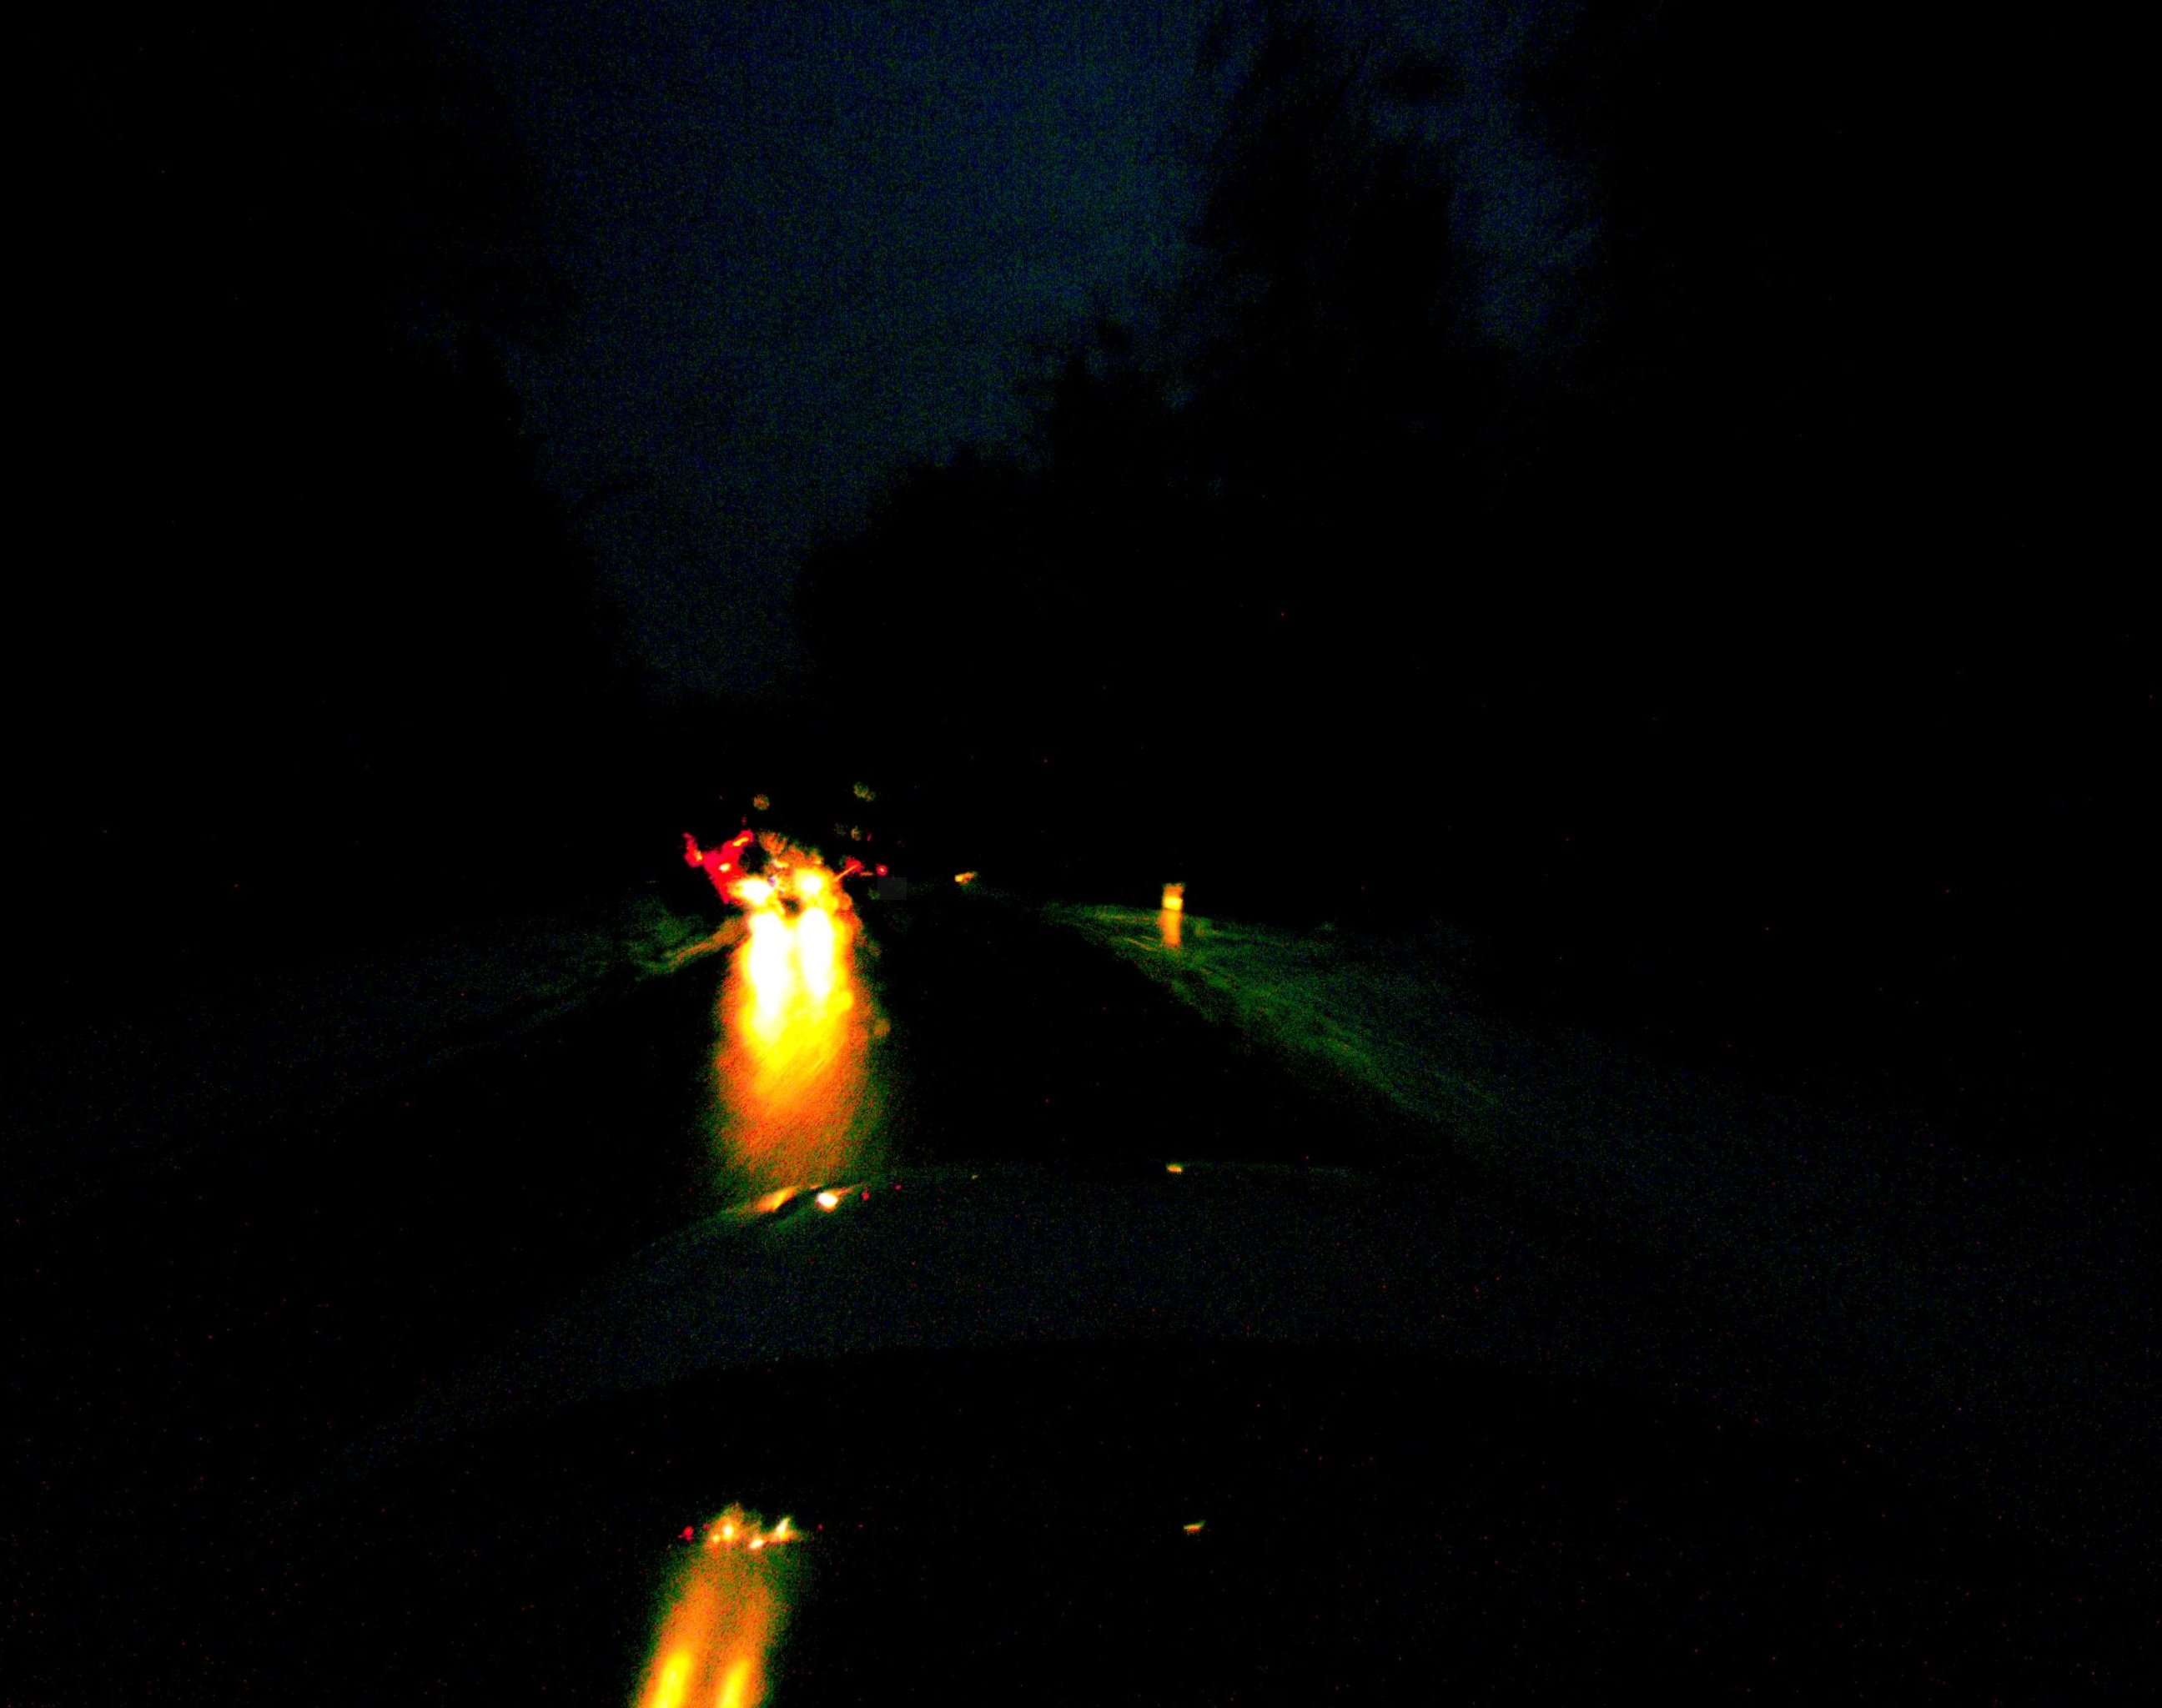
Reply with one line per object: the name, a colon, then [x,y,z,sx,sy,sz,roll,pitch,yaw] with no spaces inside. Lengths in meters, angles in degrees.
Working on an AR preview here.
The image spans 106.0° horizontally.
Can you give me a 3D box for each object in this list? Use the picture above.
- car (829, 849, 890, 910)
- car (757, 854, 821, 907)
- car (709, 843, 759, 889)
car: [-8.408,0.916,30.879,1.998,2.051,3.978,-3,0,-16]
car: [-9.872,0.818,27.453,1.781,1.492,4.516,-4,1,-21]
car: [-21.631,0.739,50.590,2.266,2.645,4.958,-1,-1,-30]
